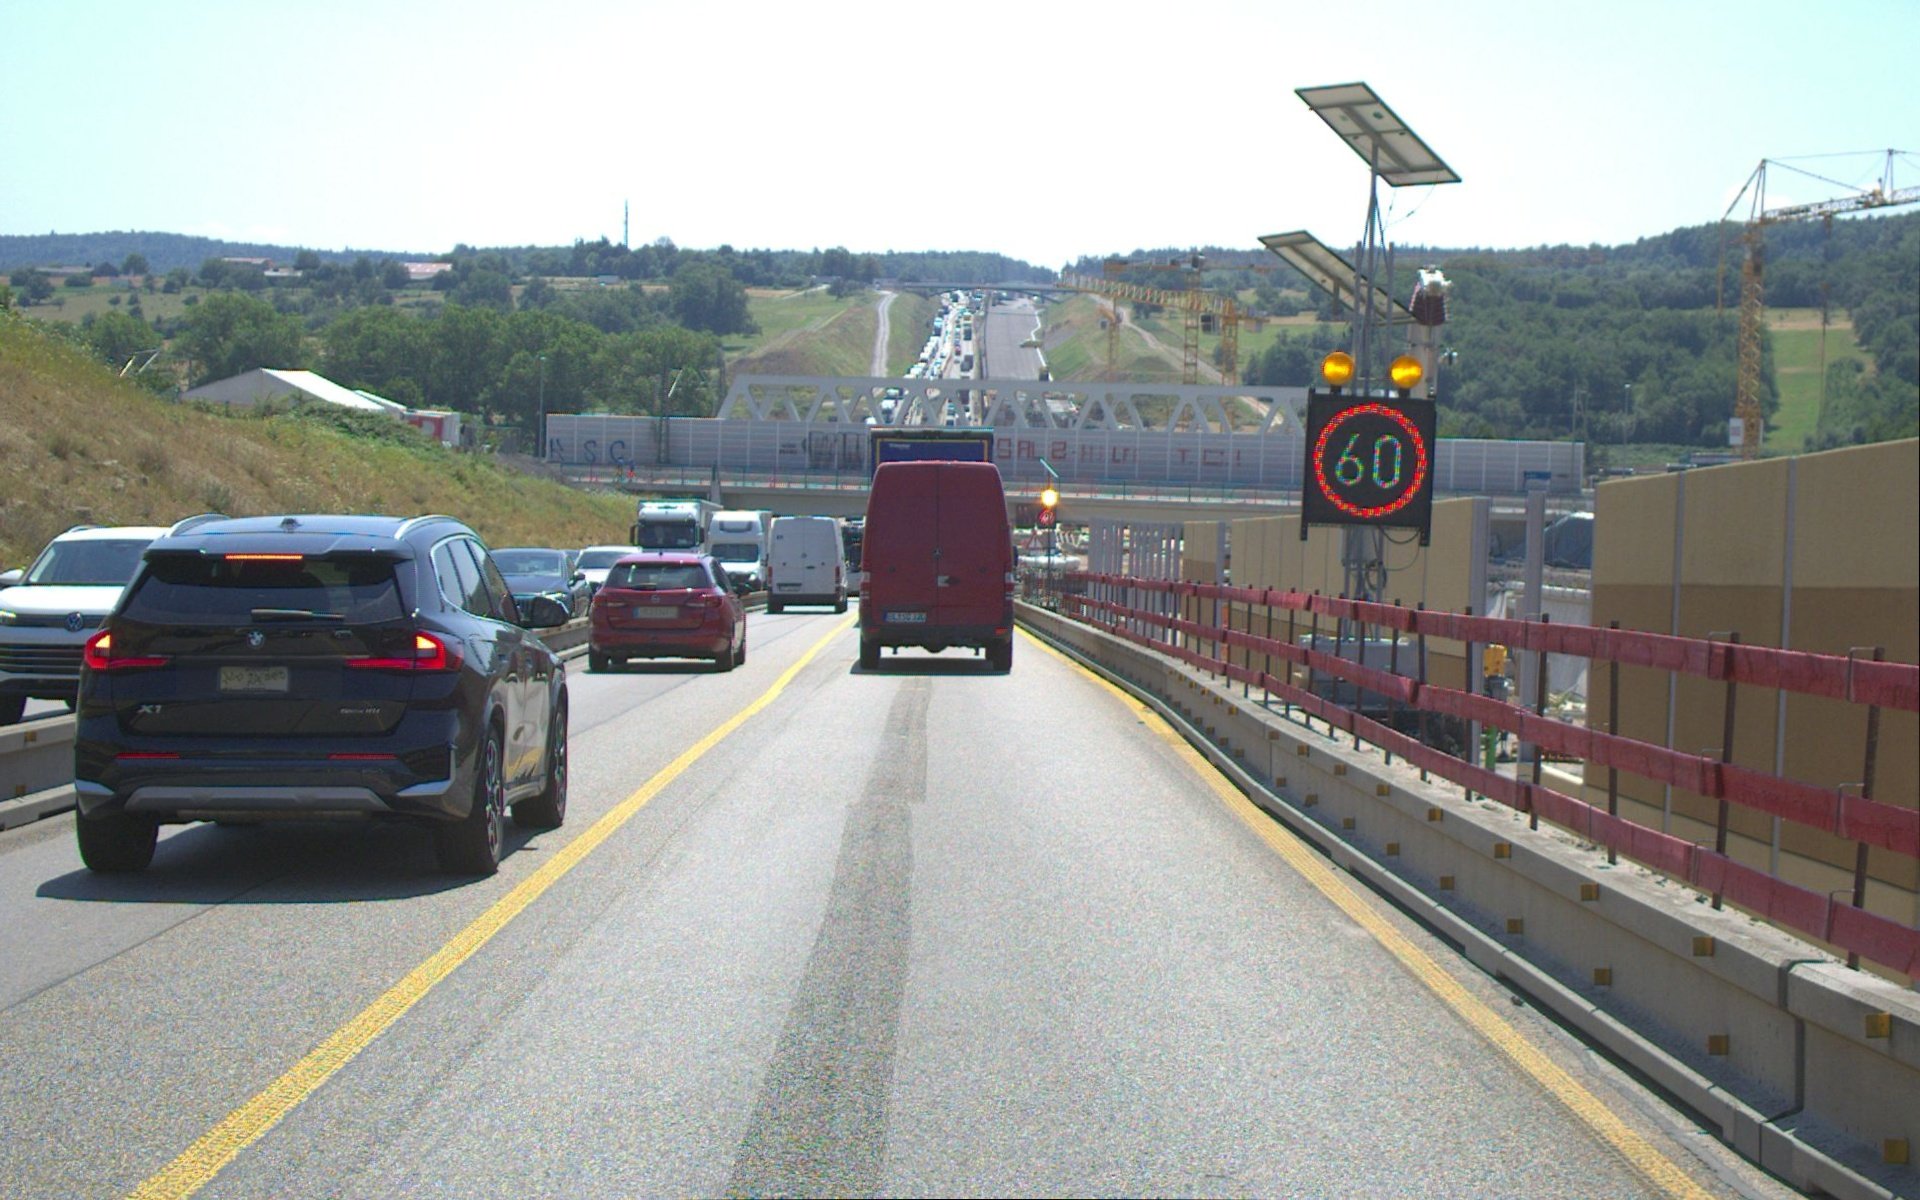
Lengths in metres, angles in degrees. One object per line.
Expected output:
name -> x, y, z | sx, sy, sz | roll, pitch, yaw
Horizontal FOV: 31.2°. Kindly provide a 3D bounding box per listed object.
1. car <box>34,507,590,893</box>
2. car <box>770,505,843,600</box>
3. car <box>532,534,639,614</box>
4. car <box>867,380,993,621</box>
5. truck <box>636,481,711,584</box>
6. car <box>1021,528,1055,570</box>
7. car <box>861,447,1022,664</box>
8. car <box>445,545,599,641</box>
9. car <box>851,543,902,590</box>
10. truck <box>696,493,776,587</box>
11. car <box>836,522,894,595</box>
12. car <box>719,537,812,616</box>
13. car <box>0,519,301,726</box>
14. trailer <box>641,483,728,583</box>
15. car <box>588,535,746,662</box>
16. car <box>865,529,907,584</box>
car -> -2.956, 0.384, 16.652 | 1.879, 1.612, 4.499 | 0, 1, 0
car -> -4.046, -1.261, 91.074 | 1.776, 2.433, 4.206 | 0, 1, 0
car -> -8.169, -0.587, 75.381 | 1.845, 1.660, 4.689 | 1, 1, -1
car -> -0.667, -2.156, 76.809 | 2.621, 5.015, 10.397 | 0, 1, 0
truck -> -11.554, -2.716, 138.909 | 2.698, 4.036, 3.955 | 1, 1, -1
car -> 4.433, -2.906, 196.003 | 1.776, 2.322, 4.206 | 0, 1, 0
car -> -0.247, -0.585, 44.947 | 1.988, 2.681, 4.624 | 0, 1, 0
car -> -7.259, -0.155, 57.415 | 1.955, 1.494, 5.090 | 1, 1, -1
car -> -3.021, -1.220, 124.982 | 1.776, 1.664, 4.029 | 0, 1, 0
truck -> -8.296, -2.216, 128.079 | 2.538, 3.362, 7.038 | 1, 1, -1
car -> -3.059, -1.350, 111.356 | 1.776, 2.322, 4.206 | 0, 1, 0
car -> -4.157, -0.532, 73.854 | 1.839, 1.648, 4.165 | 0, 1, -1
car -> -7.161, 0.126, 30.089 | 1.839, 1.648, 5.372 | 0, 1, -1
trailer -> -11.663, -2.820, 146.600 | 2.698, 4.011, 13.703 | 1, 1, -1
car -> -3.645, -0.050, 43.336 | 1.775, 1.512, 4.206 | 0, 1, -2
car -> -3.162, -1.887, 147.722 | 1.776, 2.322, 4.206 | 0, 1, 0
